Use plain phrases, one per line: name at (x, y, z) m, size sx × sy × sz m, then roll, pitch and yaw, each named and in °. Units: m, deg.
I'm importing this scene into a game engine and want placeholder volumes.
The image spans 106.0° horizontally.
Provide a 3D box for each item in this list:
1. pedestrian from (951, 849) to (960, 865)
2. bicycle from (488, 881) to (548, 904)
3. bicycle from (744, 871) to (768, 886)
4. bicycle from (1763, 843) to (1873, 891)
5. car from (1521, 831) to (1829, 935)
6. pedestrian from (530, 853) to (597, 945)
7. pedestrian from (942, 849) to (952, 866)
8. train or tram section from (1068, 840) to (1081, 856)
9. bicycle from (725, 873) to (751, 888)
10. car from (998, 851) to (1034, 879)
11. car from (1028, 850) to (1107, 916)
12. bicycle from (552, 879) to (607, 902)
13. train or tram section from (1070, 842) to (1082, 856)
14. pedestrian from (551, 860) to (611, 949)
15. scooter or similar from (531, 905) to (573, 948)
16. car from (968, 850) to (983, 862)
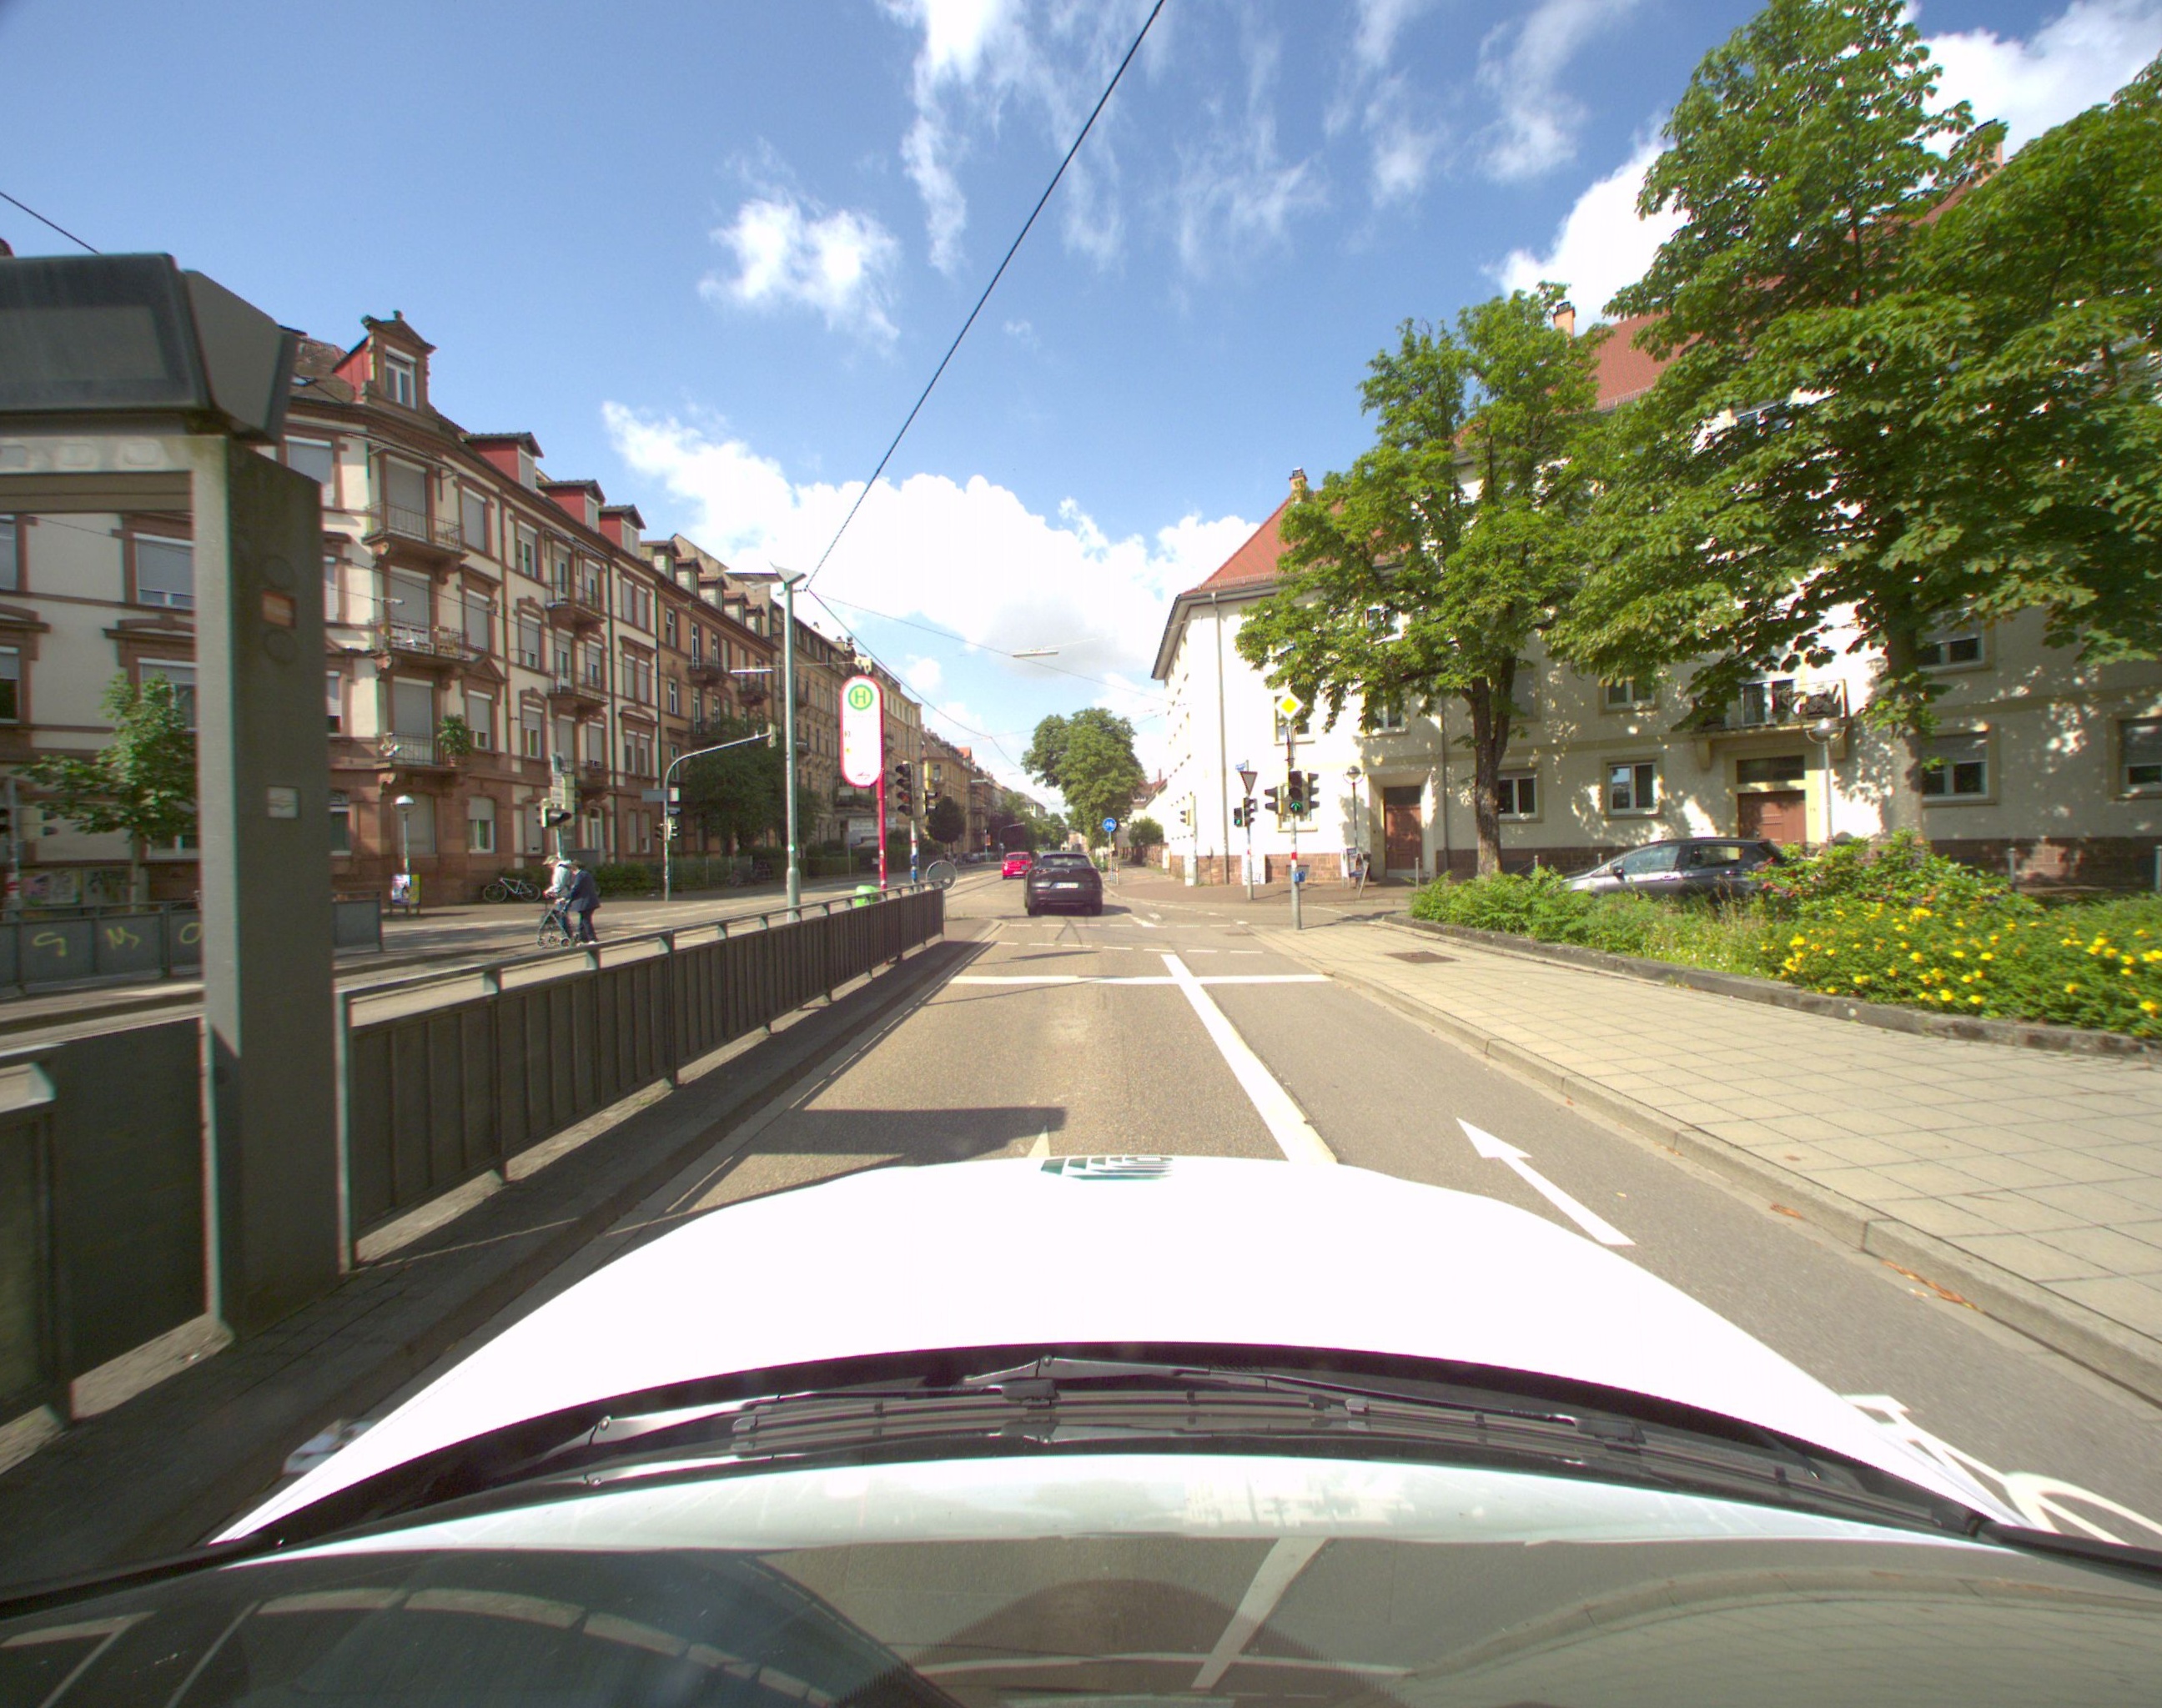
pedestrian at (-13.528, 0.280, 87.838) m, size 0.784 × 1.688 × 0.732 m, roll -1°, pitch 0°, yaw 3°
bicycle at (-20.168, 1.366, 29.199) m, size 0.381 × 0.747 × 1.722 m, roll -1°, pitch 0°, yaw 37°
bicycle at (-16.475, 1.222, 41.342) m, size 0.383 × 0.677 × 1.714 m, roll -1°, pitch 0°, yaw 6°
bicycle at (16.565, 0.284, 18.342) m, size 0.569 × 1.020 × 1.734 m, roll -4°, pitch 2°, yaw -36°
car at (10.265, 0.435, 14.259) m, size 4.119 × 1.509 × 1.863 m, roll -1°, pitch 2°, yaw 43°
pedestrian at (-9.662, 0.823, 15.230) m, size 0.768 × 1.674 × 0.668 m, roll -2°, pitch 0°, yaw 0°
pedestrian at (-13.306, 0.323, 80.818) m, size 0.784 × 1.688 × 0.732 m, roll -1°, pitch 0°, yaw 3°
train or tram section at (-1.681, -1.477, 220.510) m, size 2.987 × 3.983 × 13.811 m, roll -2°, pitch 0°, yaw 1°
bicycle at (-16.474, 1.279, 39.134) m, size 0.383 × 0.653 × 1.714 m, roll -1°, pitch 0°, yaw 6°
car at (-3.709, 0.588, 45.770) m, size 1.774 × 1.464 × 3.832 m, roll 0°, pitch 0°, yaw -8°
car at (-0.441, 0.657, 20.665) m, size 1.779 × 1.514 × 3.994 m, roll 1°, pitch 0°, yaw -4°
bicycle at (-18.965, 1.375, 30.818) m, size 0.381 × 0.747 × 1.722 m, roll -1°, pitch 0°, yaw 37°
train or tram section at (-1.365, -1.383, 234.329) m, size 2.987 × 3.983 × 13.811 m, roll -2°, pitch 0°, yaw 1°
pedestrian at (-8.982, 0.895, 14.653) m, size 0.665 × 1.546 × 0.581 m, roll -1°, pitch 0°, yaw 0°
scooter or similar at (-9.512, 1.295, 14.642) m, size 0.412 × 0.721 × 0.486 m, roll -1°, pitch 0°, yaw 0°
car at (-15.514, 0.272, 120.026) m, size 1.651 × 1.596 × 3.930 m, roll -2°, pitch 0°, yaw 1°
